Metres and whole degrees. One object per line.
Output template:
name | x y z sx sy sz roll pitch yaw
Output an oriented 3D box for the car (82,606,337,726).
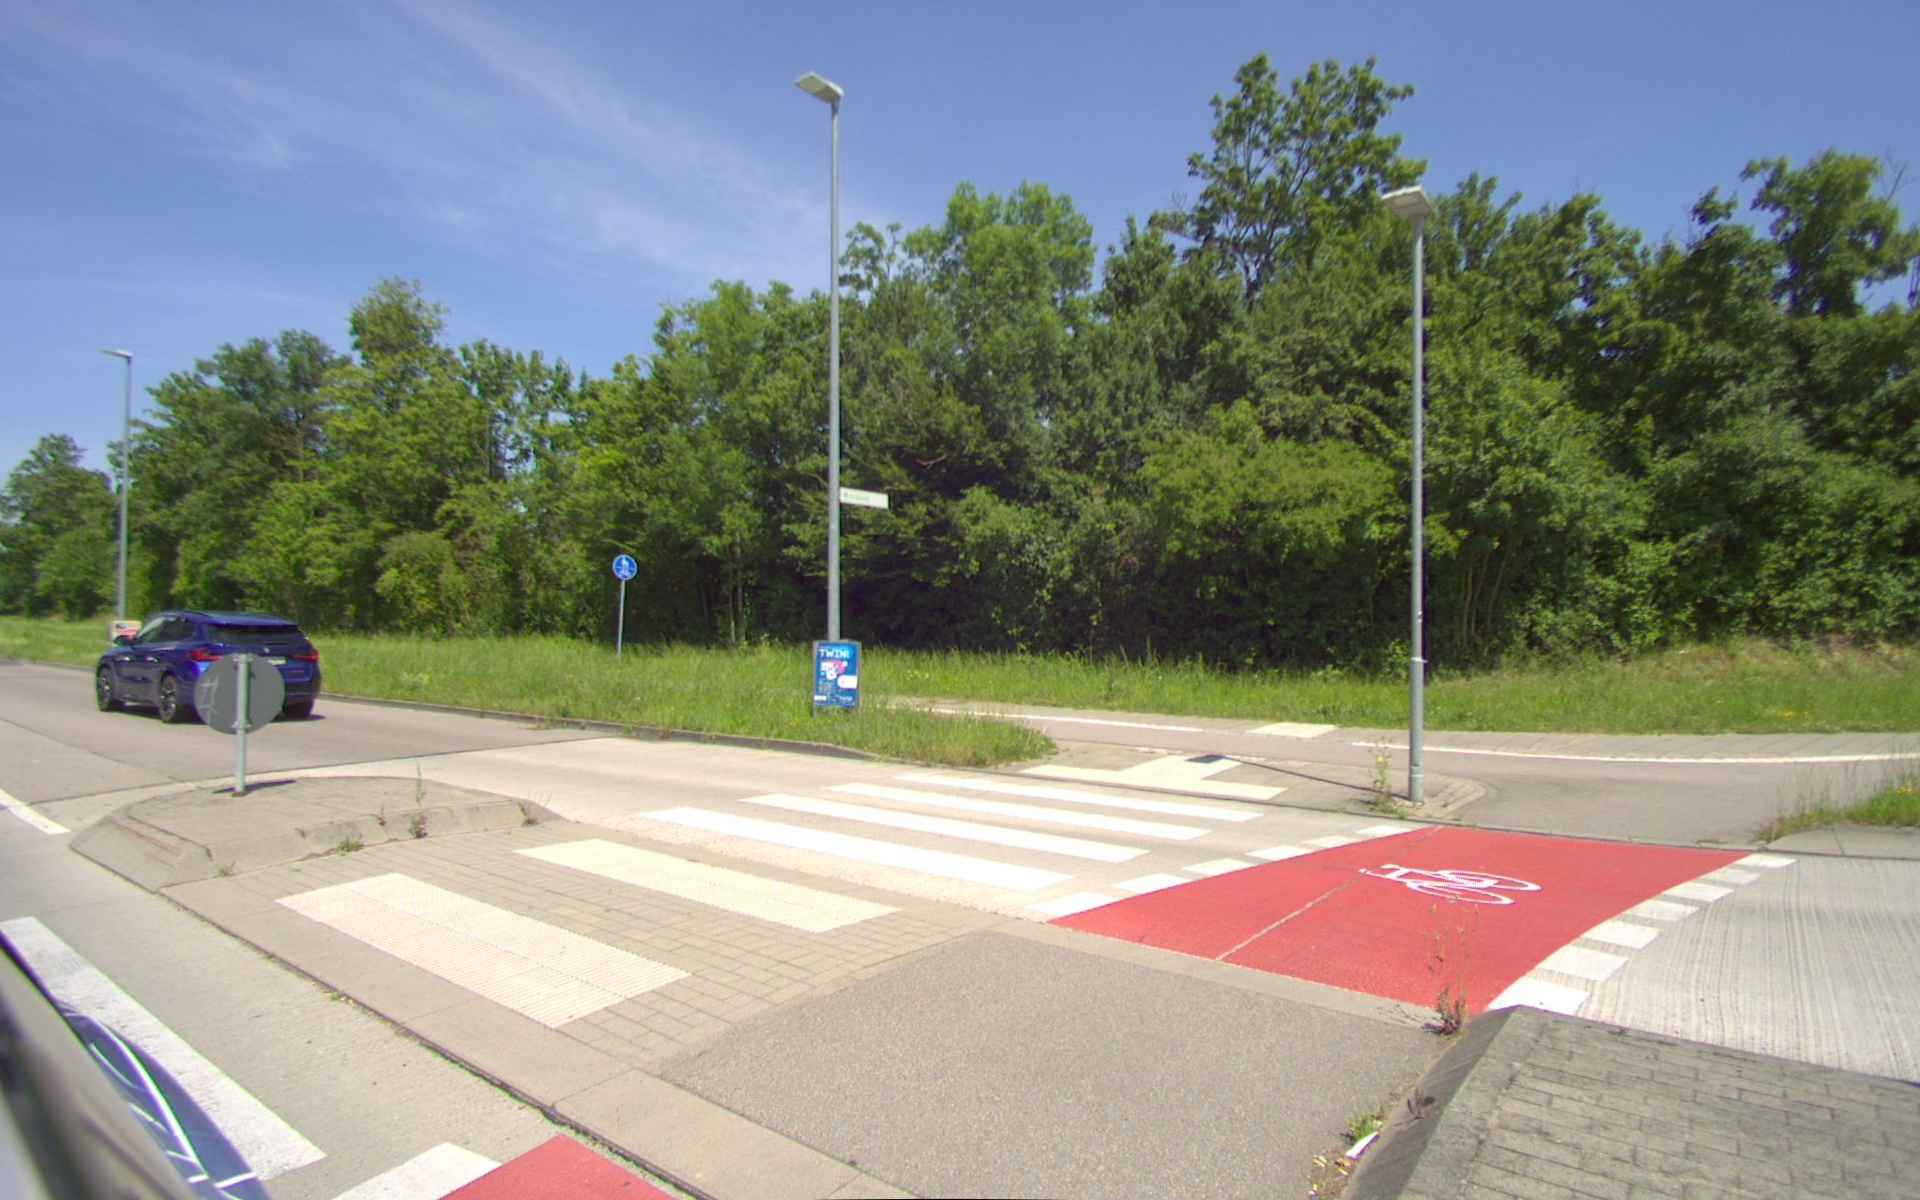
car | -11.705 1.002 15.709 4.314 1.608 1.975 -3 -4 36
